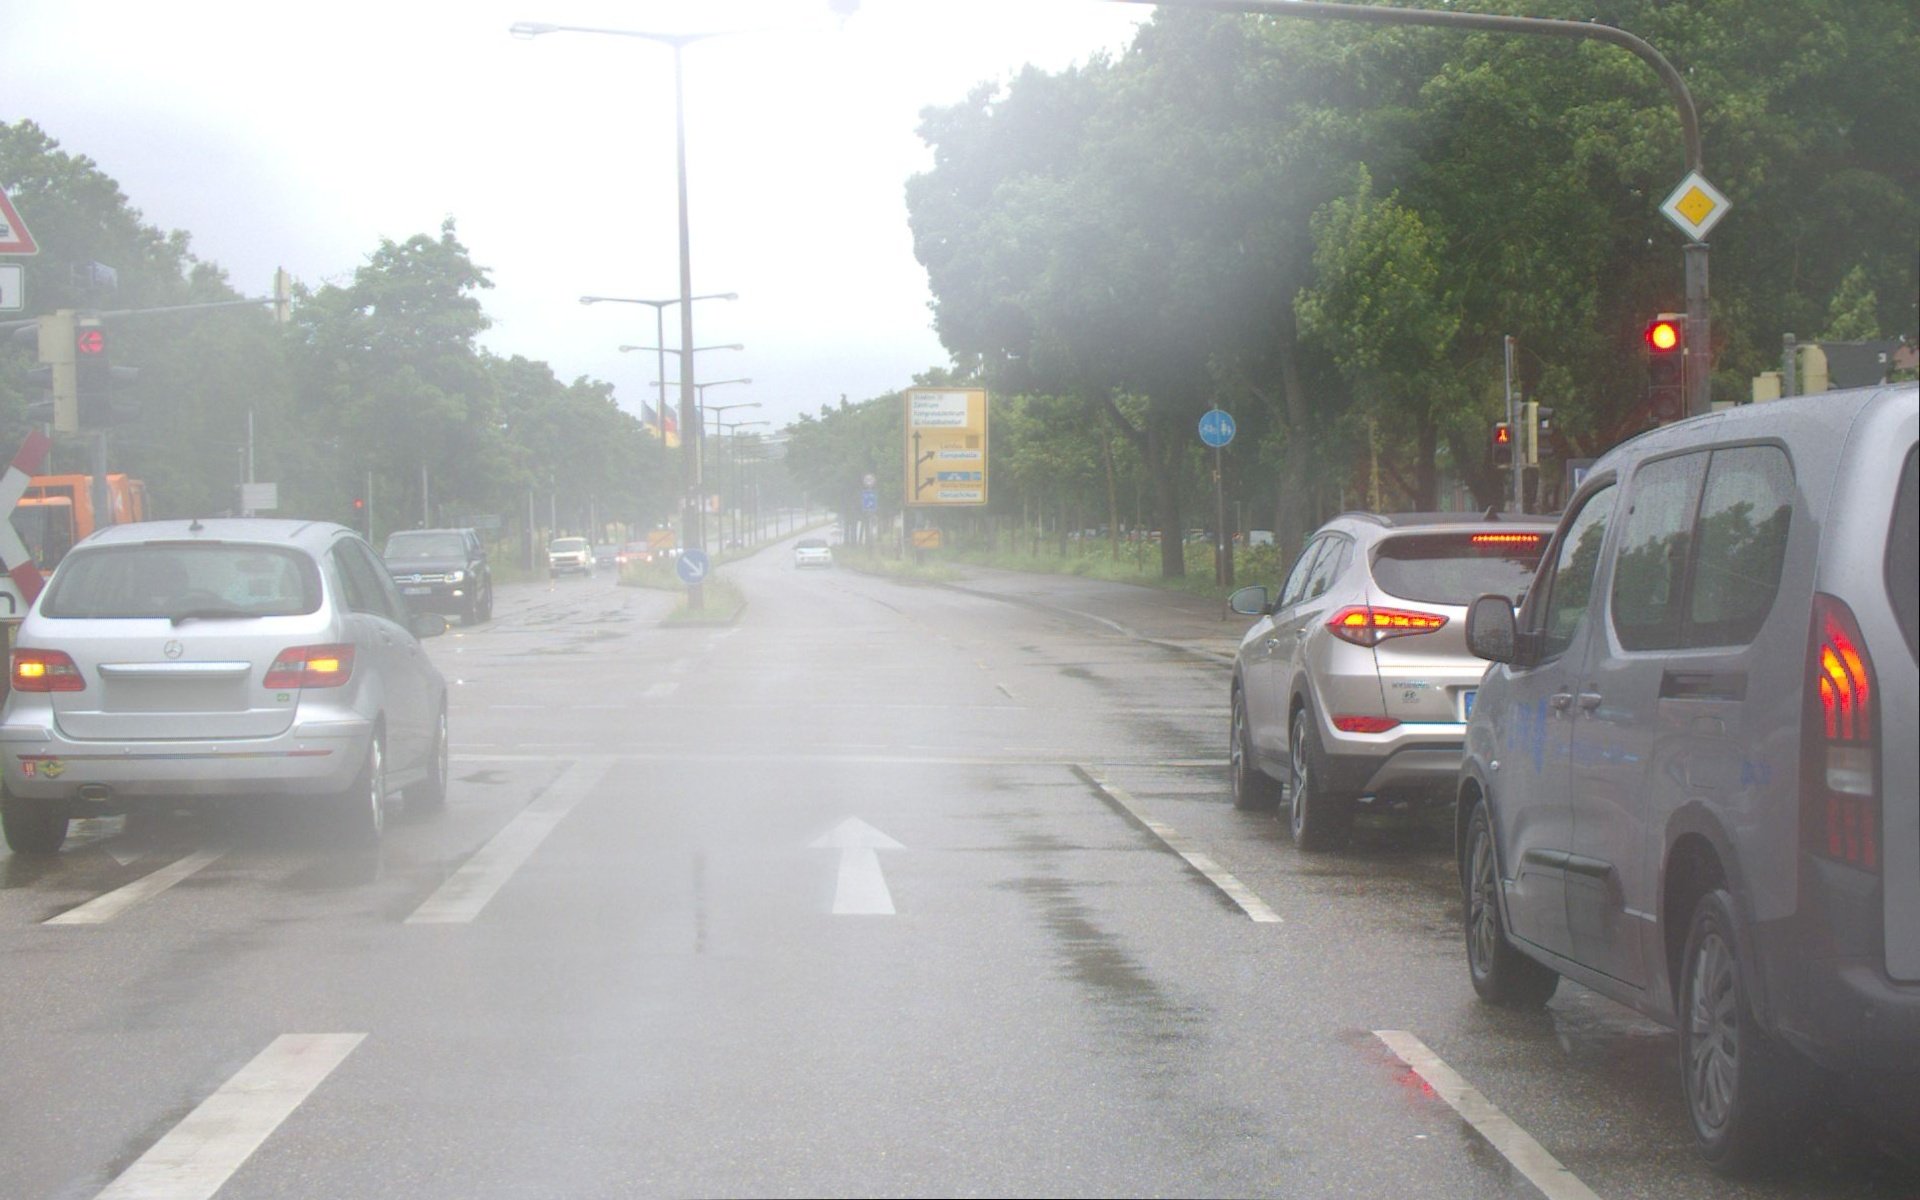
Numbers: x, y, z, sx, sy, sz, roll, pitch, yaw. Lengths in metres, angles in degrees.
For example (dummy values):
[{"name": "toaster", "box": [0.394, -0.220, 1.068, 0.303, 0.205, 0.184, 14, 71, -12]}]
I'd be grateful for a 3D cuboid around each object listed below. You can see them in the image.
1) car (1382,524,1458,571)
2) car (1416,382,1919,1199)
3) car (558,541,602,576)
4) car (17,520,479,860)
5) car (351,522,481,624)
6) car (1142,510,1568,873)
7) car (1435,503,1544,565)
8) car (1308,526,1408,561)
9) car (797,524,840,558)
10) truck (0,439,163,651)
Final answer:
[{"name": "car", "box": [15.143, -1.725, 113.321, 1.637, 1.481, 4.074, 1, 1, -5]}, {"name": "car", "box": [2.575, 0.418, 9.405, 1.993, 1.789, 4.562, 0, 1, -1]}, {"name": "car", "box": [-18.194, -1.965, 164.547, 1.801, 1.564, 4.429, -3, 0, -3]}, {"name": "car", "box": [-3.544, 0.376, 17.775, 1.736, 1.539, 4.014, -1, 1, -3]}, {"name": "car", "box": [-10.152, -0.543, 64.437, 1.805, 1.767, 5.090, -2, 1, -3]}, {"name": "car", "box": [1.939, 0.389, 17.577, 1.884, 1.605, 4.195, 1, 1, 5]}, {"name": "car", "box": [15.281, -1.896, 99.424, 1.993, 1.711, 4.880, -2, 1, -5]}, {"name": "car", "box": [19.838, -2.815, 171.388, 4.568, 1.639, 2.000, 1, 0, -8]}, {"name": "car", "box": [-6.564, -2.744, 159.774, 1.907, 1.509, 4.001, -1, 1, -2]}, {"name": "truck", "box": [-19.526, -1.148, 72.666, 3.384, 4.153, 10.408, 1, 1, -3]}]
